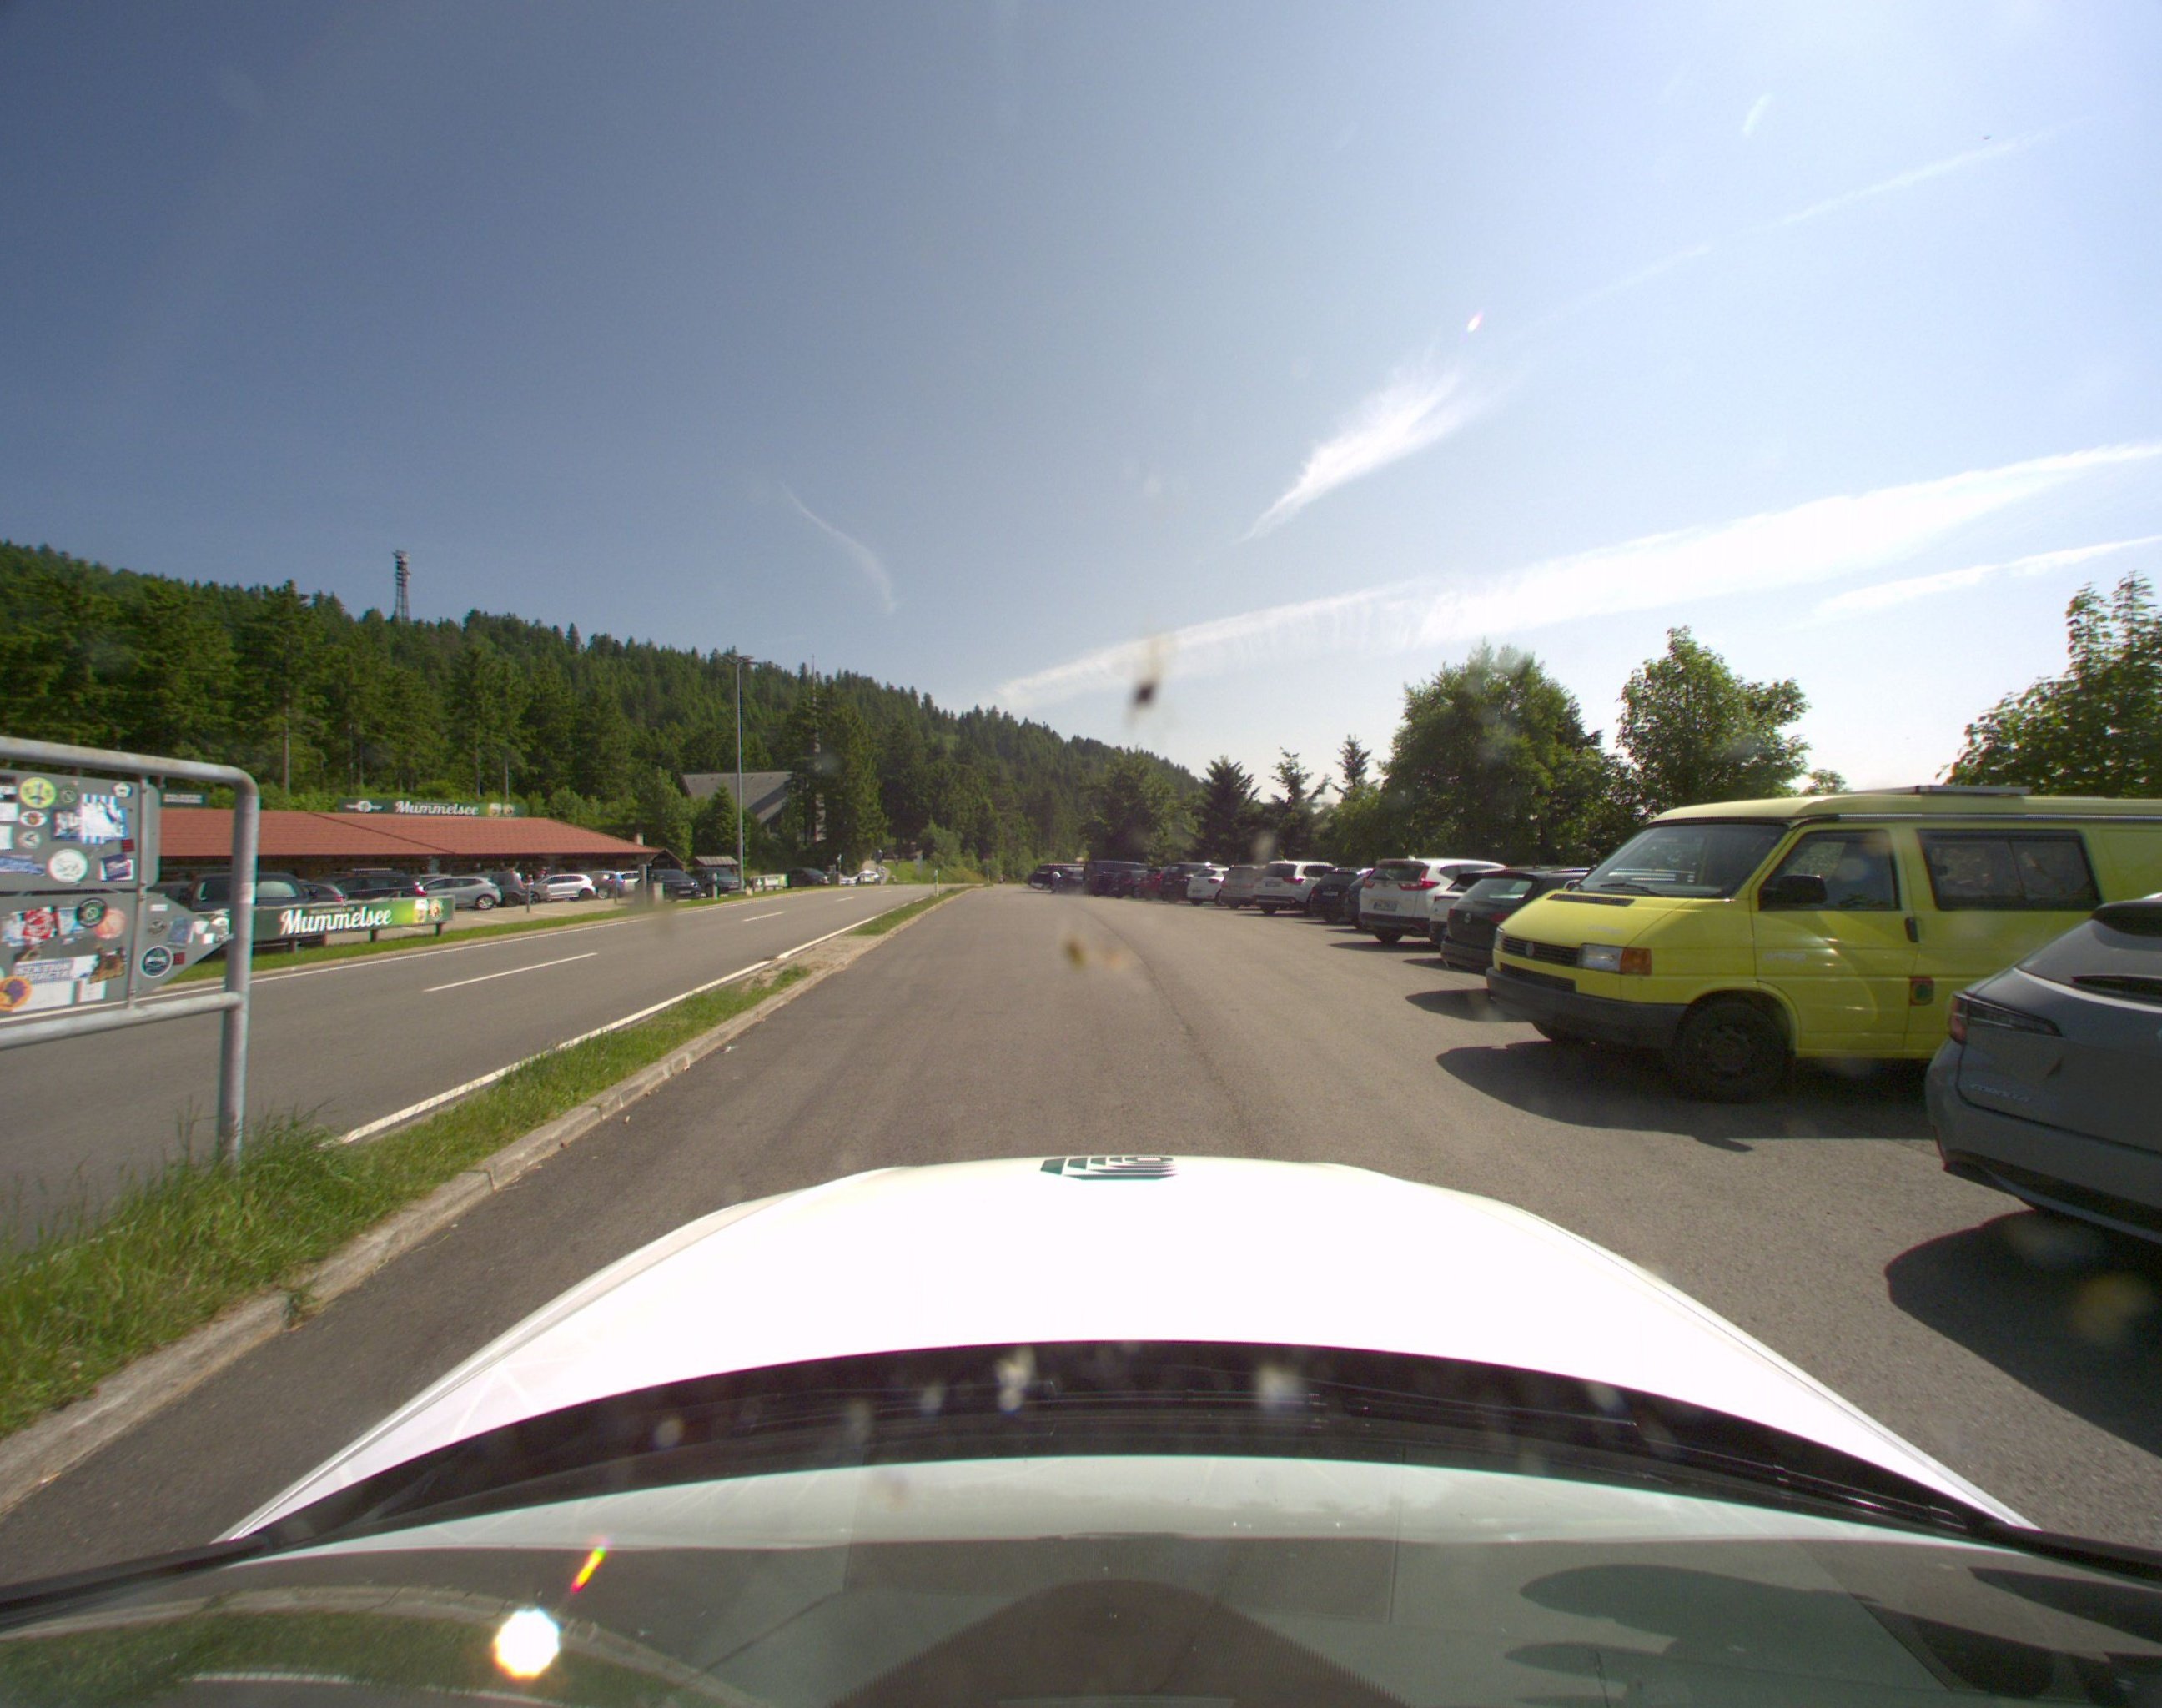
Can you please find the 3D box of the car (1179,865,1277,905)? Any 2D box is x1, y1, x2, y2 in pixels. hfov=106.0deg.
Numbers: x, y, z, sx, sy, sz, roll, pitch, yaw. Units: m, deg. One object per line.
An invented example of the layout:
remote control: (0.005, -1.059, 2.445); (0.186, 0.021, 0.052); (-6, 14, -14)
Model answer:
car: (5.910, 1.247, 32.439); (4.021, 1.476, 1.746); (3, -2, -42)

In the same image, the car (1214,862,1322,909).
car: (6.804, 1.148, 29.410); (4.021, 1.549, 1.798); (3, -2, -42)

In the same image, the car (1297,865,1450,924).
car: (8.033, 1.108, 22.288); (4.066, 1.461, 1.875); (3, -2, -34)

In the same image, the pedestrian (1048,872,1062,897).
pedestrian: (-1.514, 1.779, 47.893); (0.771, 1.402, 0.669); (-2, 0, 1)

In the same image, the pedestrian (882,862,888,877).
pedestrian: (-22.795, 1.796, 94.738); (0.653, 1.799, 0.640); (0, -1, -11)

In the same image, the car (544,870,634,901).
car: (-28.626, 1.822, 47.446); (1.974, 1.574, 4.025); (-2, 0, 40)

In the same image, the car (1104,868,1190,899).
car: (3.325, 1.467, 40.526); (4.013, 1.415, 1.727); (3, -2, -32)

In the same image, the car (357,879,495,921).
car: (-26.299, 1.796, 32.810); (1.789, 1.371, 4.025); (-2, 0, 40)

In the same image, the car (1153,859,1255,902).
car: (5.267, 1.153, 34.536); (4.296, 1.695, 1.967); (3, -2, -43)

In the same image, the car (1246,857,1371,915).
car: (7.269, 0.991, 25.849); (4.249, 1.695, 1.841); (2, -1, -42)

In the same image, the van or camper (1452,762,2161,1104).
van or camper: (5.711, 0.527, 6.025); (5.078, 2.013, 1.880); (2, 0, -3)

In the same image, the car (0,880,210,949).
car: (-24.955, 1.468, 20.494); (1.889, 1.430, 4.025); (-2, 0, 39)

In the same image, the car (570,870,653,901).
car: (-28.969, 1.946, 50.346); (1.753, 1.672, 4.056); (-4, -1, 39)

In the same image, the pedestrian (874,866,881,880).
pedestrian: (-23.503, 2.208, 94.034); (0.653, 1.667, 0.640); (-1, -3, -11)

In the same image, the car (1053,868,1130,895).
car: (0.610, 1.565, 46.522); (4.007, 1.443, 1.824); (3, -2, -26)

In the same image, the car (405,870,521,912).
car: (-26.999, 1.589, 35.663); (1.713, 1.588, 3.756); (-2, 0, 40)

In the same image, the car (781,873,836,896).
car: (-20.584, 2.303, 61.456); (4.156, 1.634, 1.800); (-2, -2, 35)

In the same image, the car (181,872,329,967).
car: (-16.108, 1.164, 15.868); (4.139, 1.540, 1.819); (-1, 0, 43)

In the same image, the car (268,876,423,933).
car: (-26.426, 1.750, 29.350); (4.024, 1.704, 1.803); (-2, 0, -45)

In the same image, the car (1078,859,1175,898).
car: (2.443, 1.317, 43.558); (4.779, 1.880, 1.951); (3, -2, -24)

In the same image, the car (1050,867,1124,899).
car: (0.354, 1.773, 49.711); (4.013, 1.662, 1.980); (6, -4, -32)

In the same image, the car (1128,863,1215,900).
car: (4.261, 1.299, 38.146); (4.021, 1.590, 1.841); (3, -2, -42)

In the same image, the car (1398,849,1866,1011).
car: (6.145, 0.751, 9.324); (4.348, 1.487, 1.807); (-2, 0, -8)

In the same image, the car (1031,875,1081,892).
car: (-2.405, 2.848, 78.315); (4.469, 1.299, 1.571); (5, -2, -21)

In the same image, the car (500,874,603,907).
car: (-27.168, 1.835, 41.869); (1.883, 1.420, 4.025); (-2, 0, 40)

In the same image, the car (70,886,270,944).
car: (-25.753, 1.666, 23.128); (1.567, 1.321, 3.662); (-2, 0, 38)

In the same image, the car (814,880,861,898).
car: (-20.301, 2.922, 67.799); (3.919, 1.441, 1.755); (-2, 0, 38)

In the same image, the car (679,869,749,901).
car: (-19.063, 1.575, 42.249); (4.008, 1.567, 1.751); (-2, -1, 41)

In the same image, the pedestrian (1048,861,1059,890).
pedestrian: (-1.688, 1.341, 50.105); (0.577, 1.761, 0.633); (2, -2, -1)

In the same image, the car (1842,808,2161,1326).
car: (5.354, 0.675, 2.910); (4.150, 1.589, 1.699); (1, 0, -10)

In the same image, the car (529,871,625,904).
car: (-27.671, 1.838, 44.814); (1.974, 1.574, 4.025); (-2, 0, 40)

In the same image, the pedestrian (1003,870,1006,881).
pedestrian: (-13.183, 3.705, 140.574); (0.392, 1.747, 0.407); (-1, -1, 11)

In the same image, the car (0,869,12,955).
car: (-25.527, 1.323, 16.471); (1.812, 1.863, 4.558); (-2, 0, 42)

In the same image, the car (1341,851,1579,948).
car: (7.283, 0.865, 15.625); (4.191, 1.650, 1.876); (3, -2, -25)

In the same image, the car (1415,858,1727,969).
car: (7.514, 0.859, 12.576); (4.096, 1.500, 1.932); (1, -1, -18)

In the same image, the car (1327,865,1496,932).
car: (7.901, 1.051, 19.405); (3.815, 1.459, 1.648); (2, -1, -28)

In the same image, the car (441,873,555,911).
car: (-27.413, 1.754, 38.402); (1.875, 1.545, 4.025); (-2, 0, 41)

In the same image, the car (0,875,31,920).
car: (-38.997, 1.583, 27.756); (1.886, 1.530, 3.906); (-2, 0, 38)

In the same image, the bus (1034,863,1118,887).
bus: (-0.767, 3.196, 126.930); (12.775, 3.578, 2.991); (0, 0, 11)

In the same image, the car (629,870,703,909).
car: (-18.100, 1.510, 35.430); (1.793, 1.552, 3.951); (-1, 0, -44)
